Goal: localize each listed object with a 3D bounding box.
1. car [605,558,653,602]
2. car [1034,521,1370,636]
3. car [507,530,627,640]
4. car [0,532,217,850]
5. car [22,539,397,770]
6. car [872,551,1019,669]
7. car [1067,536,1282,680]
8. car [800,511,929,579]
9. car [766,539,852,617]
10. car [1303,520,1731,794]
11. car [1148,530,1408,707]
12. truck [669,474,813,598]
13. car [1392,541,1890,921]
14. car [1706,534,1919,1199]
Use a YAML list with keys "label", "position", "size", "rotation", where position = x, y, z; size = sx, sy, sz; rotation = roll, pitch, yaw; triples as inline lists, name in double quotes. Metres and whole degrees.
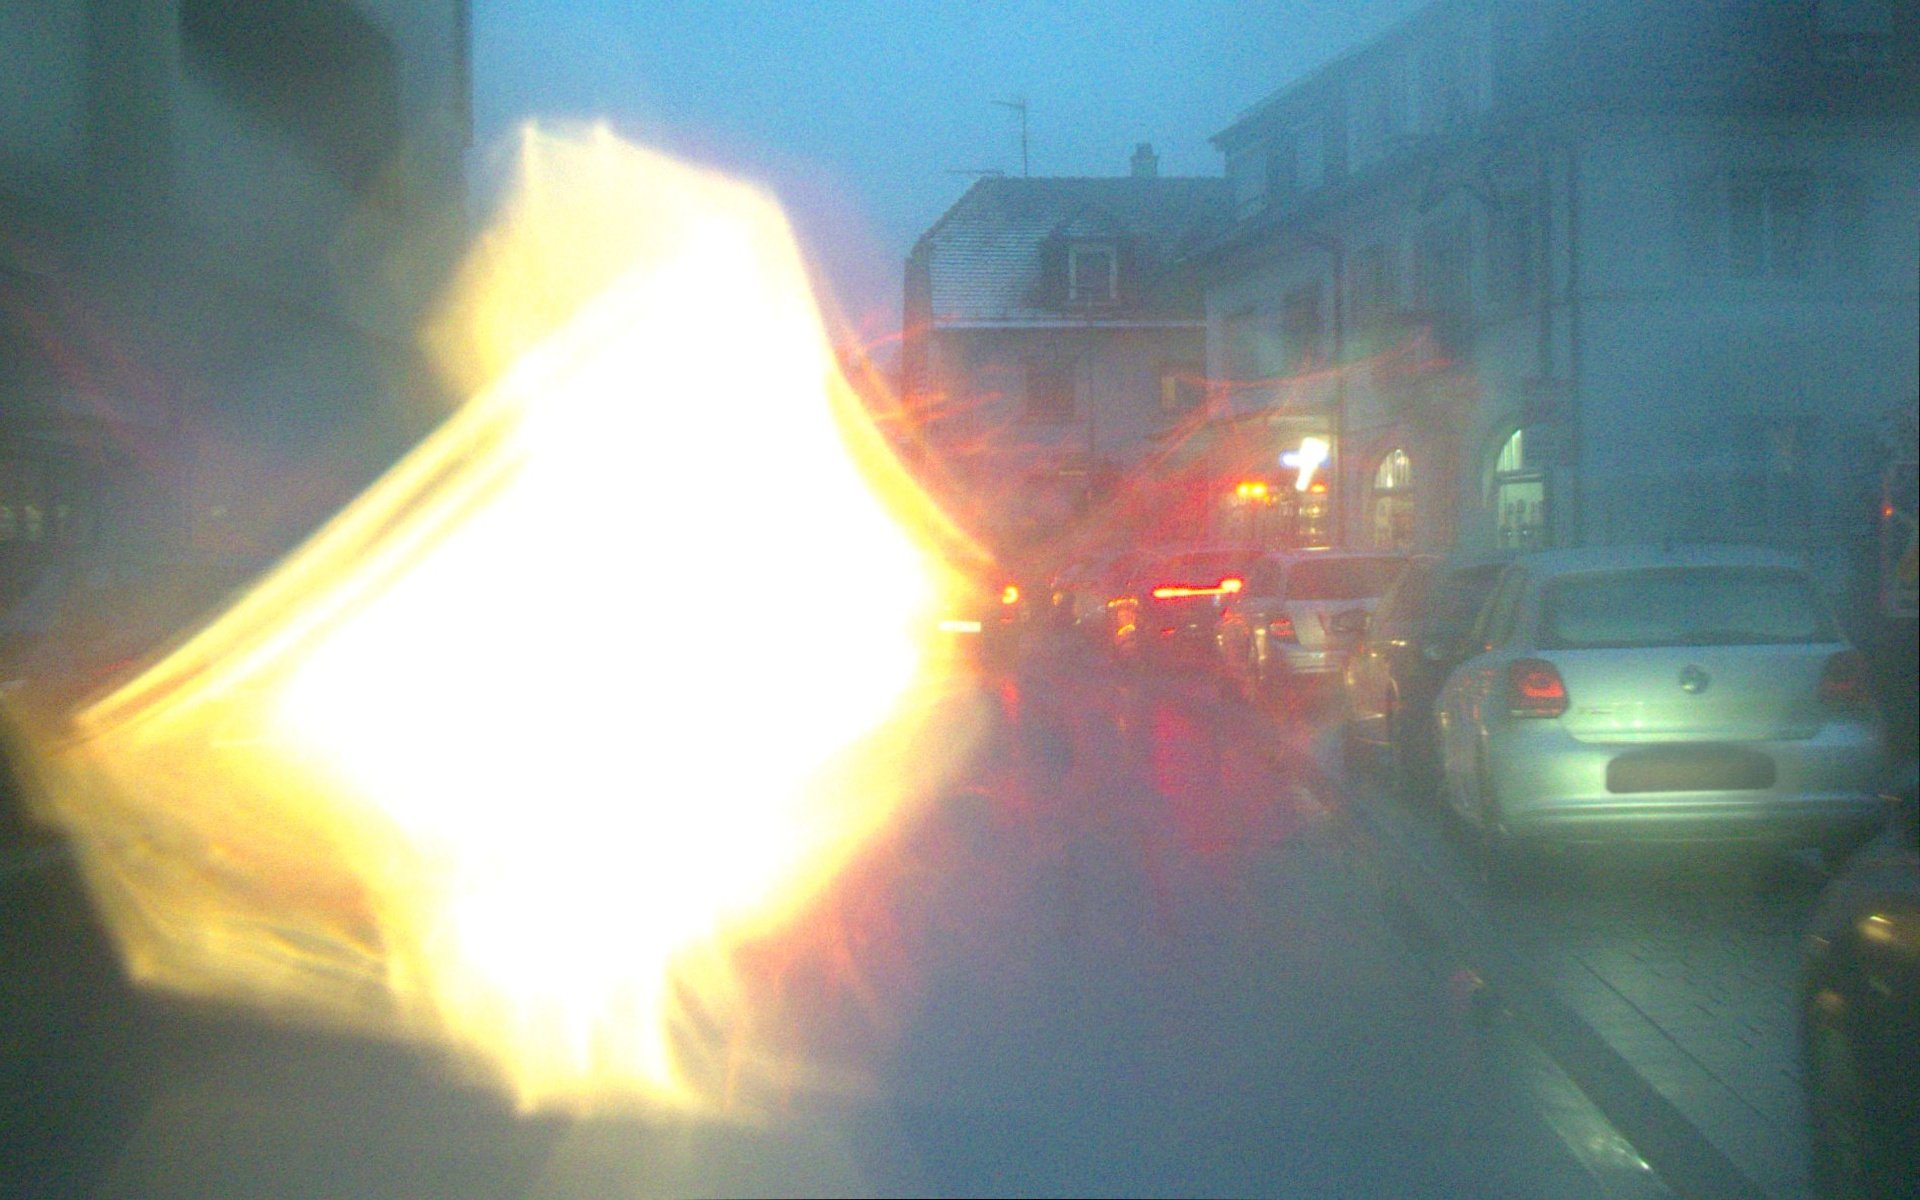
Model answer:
- label: "car"
  position: [-11.850, -0.712, 123.020]
  size: [1.637, 1.530, 3.407]
  rotation: [0, 1, -7]
- label: "car"
  position: [3.431, -0.328, 49.186]
  size: [4.466, 1.468, 1.898]
  rotation: [-2, 1, -8]
- label: "car"
  position: [-6.223, -0.264, 54.286]
  size: [1.794, 1.637, 3.813]
  rotation: [1, 1, -7]
- label: "car"
  position: [-5.341, 0.403, 18.726]
  size: [1.615, 1.527, 3.928]
  rotation: [1, 1, 2]
- label: "car"
  position: [-5.173, 0.308, 24.253]
  size: [1.675, 1.441, 4.428]
  rotation: [1, 1, 0]
- label: "car"
  position: [-0.227, 0.103, 44.931]
  size: [1.637, 1.476, 3.379]
  rotation: [1, 1, -5]
- label: "car"
  position: [2.474, 0.044, 40.818]
  size: [1.882, 1.541, 4.672]
  rotation: [-2, 1, -4]
- label: "car"
  position: [-3.047, -1.788, 110.840]
  size: [4.097, 2.155, 1.913]
  rotation: [0, 1, 0]
- label: "car"
  position: [-3.027, -0.455, 68.408]
  size: [1.638, 1.476, 3.272]
  rotation: [1, 1, -3]
- label: "car"
  position: [3.289, 0.278, 21.186]
  size: [1.823, 1.418, 4.608]
  rotation: [-3, 1, 0]
- label: "car"
  position: [2.867, 0.120, 31.888]
  size: [1.794, 1.455, 4.531]
  rotation: [-2, 1, -2]
- label: "truck"
  position: [-5.881, -1.701, 91.045]
  size: [3.014, 3.118, 8.002]
  rotation: [0, 1, -9]
- label: "car"
  position: [2.944, 0.492, 15.570]
  size: [1.626, 1.436, 3.799]
  rotation: [-3, 1, 3]
- label: "car"
  position: [2.541, 0.630, 5.245]
  size: [1.764, 1.521, 4.390]
  rotation: [-3, 1, 0]
